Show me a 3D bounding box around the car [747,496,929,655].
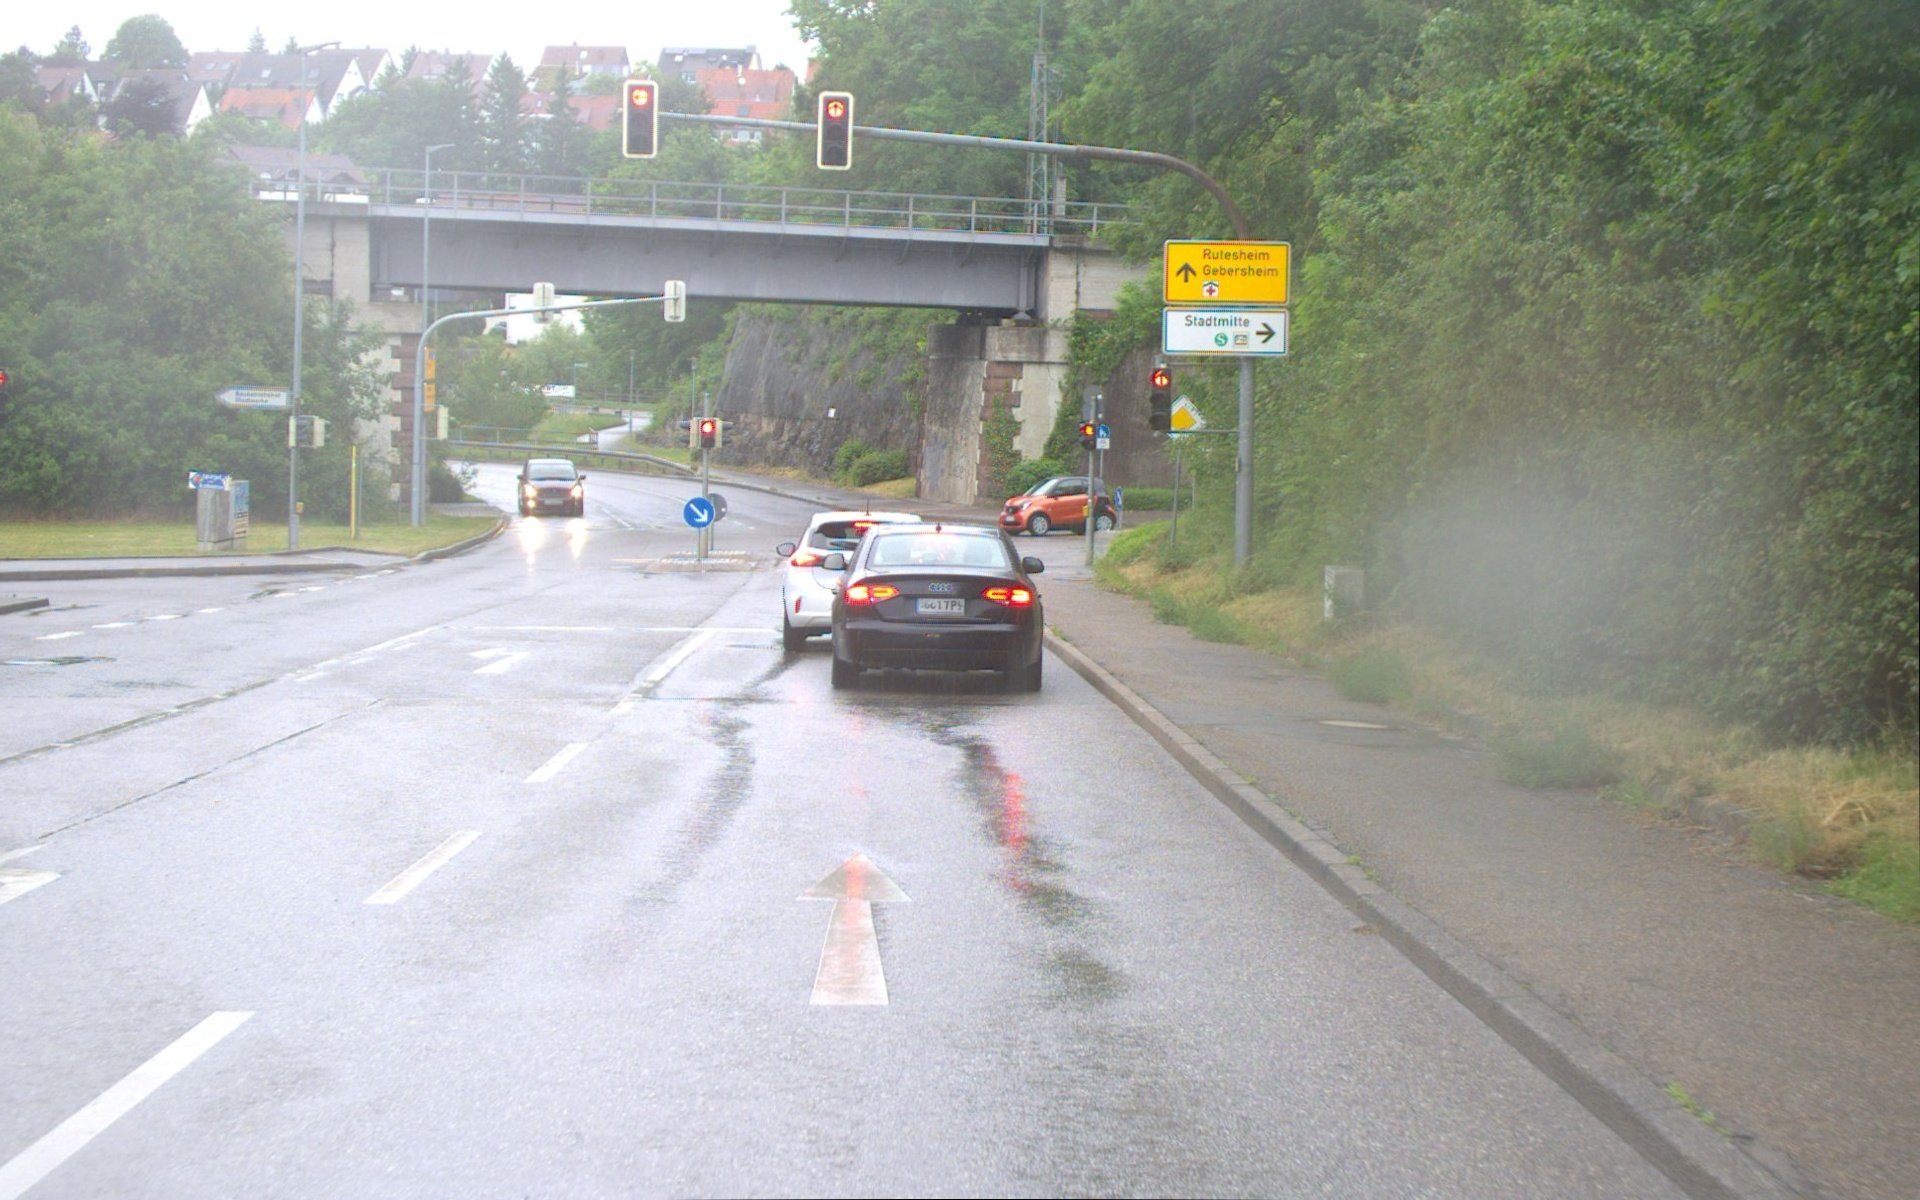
[{"bbox_3d":[-1.269,-0.278,36.618,1.823,1.579,4.000,1,1,-1],"label":"car"}]

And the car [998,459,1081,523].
[{"bbox_3d":[2.059,-2.844,90.373,1.993,1.579,4.000,1,1,-1],"label":"car"}]

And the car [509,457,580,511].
[{"bbox_3d":[-12.878,-3.577,106.303,1.993,1.622,4.001,0,2,-9],"label":"car"}]

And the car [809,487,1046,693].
[{"bbox_3d":[-0.295,-0.133,29.876,1.870,1.611,4.001,2,2,-1],"label":"car"}]
